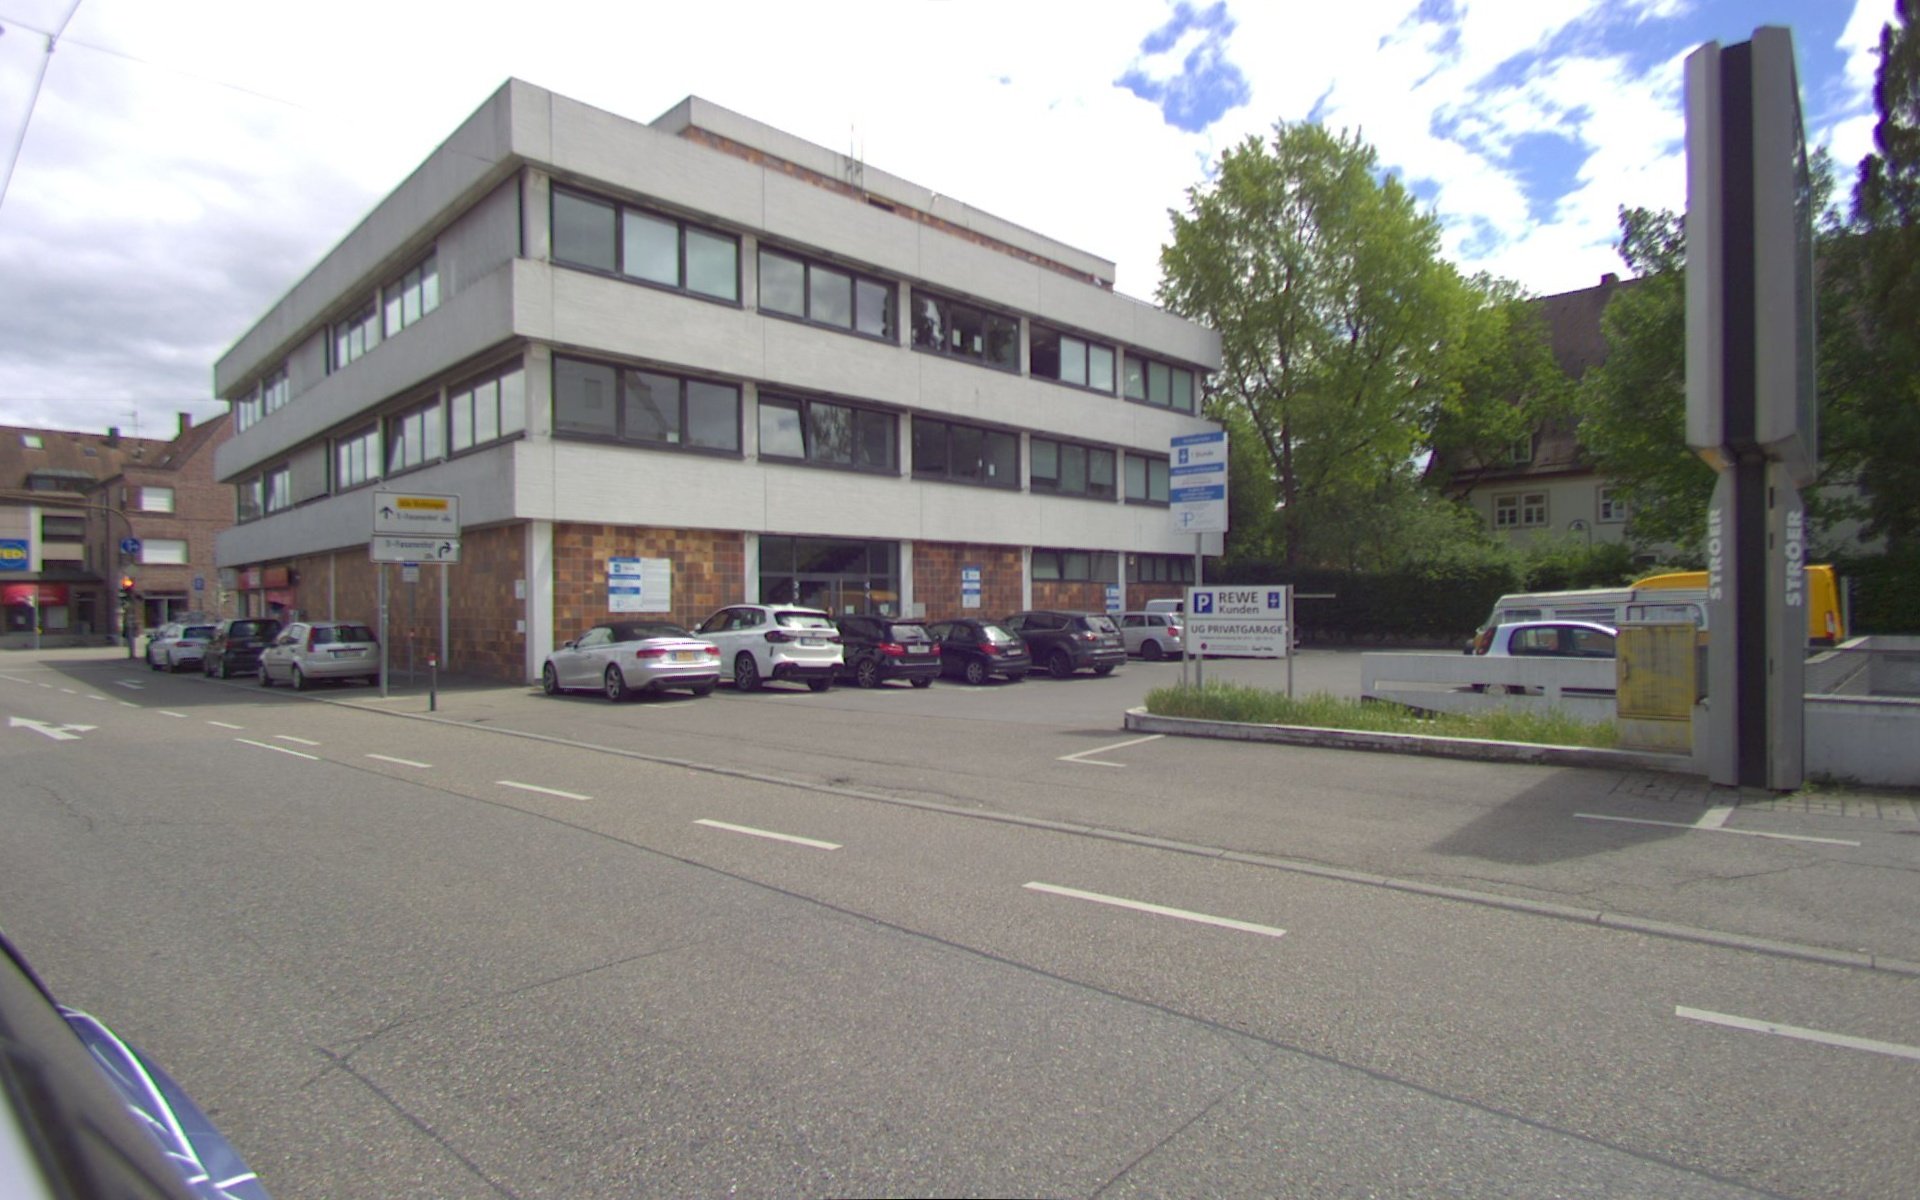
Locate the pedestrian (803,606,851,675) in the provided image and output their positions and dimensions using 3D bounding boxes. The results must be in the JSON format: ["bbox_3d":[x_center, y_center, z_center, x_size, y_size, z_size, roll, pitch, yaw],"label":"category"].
[{"bbox_3d":[-3.314,1.003,25.255,0.709,1.684,0.996,2,-3,-44],"label":"pedestrian"}]

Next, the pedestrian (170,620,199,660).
[{"bbox_3d":[-31.602,1.607,41.226,0.809,1.566,0.846,-2,0,-45],"label":"pedestrian"}]

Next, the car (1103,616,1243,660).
[{"bbox_3d":[6.705,1.188,32.137,1.825,1.304,4.003,0,-1,-44],"label":"car"}]

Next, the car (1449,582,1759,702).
[{"bbox_3d":[12.004,0.744,19.092,4.649,2.004,1.817,-2,-1,44],"label":"car"}]

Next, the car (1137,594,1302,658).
[{"bbox_3d":[8.586,0.851,33.856,1.945,1.956,5.092,0,-1,-44],"label":"car"}]

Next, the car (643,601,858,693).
[{"bbox_3d":[-4.334,0.944,20.371,1.928,1.632,4.933,4,-4,-43],"label":"car"}]

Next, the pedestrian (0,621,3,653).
[{"bbox_3d":[-51.527,1.970,53.582,0.839,1.736,0.907,0,-1,-2],"label":"pedestrian"}]

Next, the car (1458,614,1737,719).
[{"bbox_3d":[10.532,1.023,16.835,3.751,1.541,1.795,-1,-1,38],"label":"car"}]

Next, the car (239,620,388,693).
[{"bbox_3d":[-14.518,1.205,22.653,4.146,1.433,1.704,-2,0,41],"label":"car"}]

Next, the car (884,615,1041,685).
[{"bbox_3d":[0.009,1.178,24.724,3.604,1.558,1.744,-2,-2,42],"label":"car"}]

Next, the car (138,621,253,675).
[{"bbox_3d":[-23.393,1.426,30.892,4.953,1.455,2.022,-2,0,43],"label":"car"}]

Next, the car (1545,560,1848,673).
[{"bbox_3d":[18.460,0.455,25.631,5.977,2.549,2.039,-1,-3,43],"label":"car"}]

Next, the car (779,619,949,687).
[{"bbox_3d":[-2.158,1.113,22.197,3.604,1.341,1.744,-2,-2,42],"label":"car"}]

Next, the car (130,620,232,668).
[{"bbox_3d":[-27.011,1.497,35.041,4.283,1.486,2.023,-2,0,42],"label":"car"}]

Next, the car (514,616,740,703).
[{"bbox_3d":[-6.223,1.010,18.571,4.857,1.368,1.929,-2,-1,44],"label":"car"}]

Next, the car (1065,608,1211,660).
[{"bbox_3d":[5.315,1.001,30.517,1.825,1.472,4.003,0,-1,-44],"label":"car"}]

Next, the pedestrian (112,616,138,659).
[{"bbox_3d":[-32.760,1.475,39.715,0.682,1.657,0.709,-2,0,45],"label":"pedestrian"}]

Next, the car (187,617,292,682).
[{"bbox_3d":[-19.198,1.266,26.932,3.057,1.567,1.717,-2,0,43],"label":"car"}]

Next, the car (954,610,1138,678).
[{"bbox_3d":[2.123,1.087,25.881,4.497,1.590,1.900,-2,-2,44],"label":"car"}]
